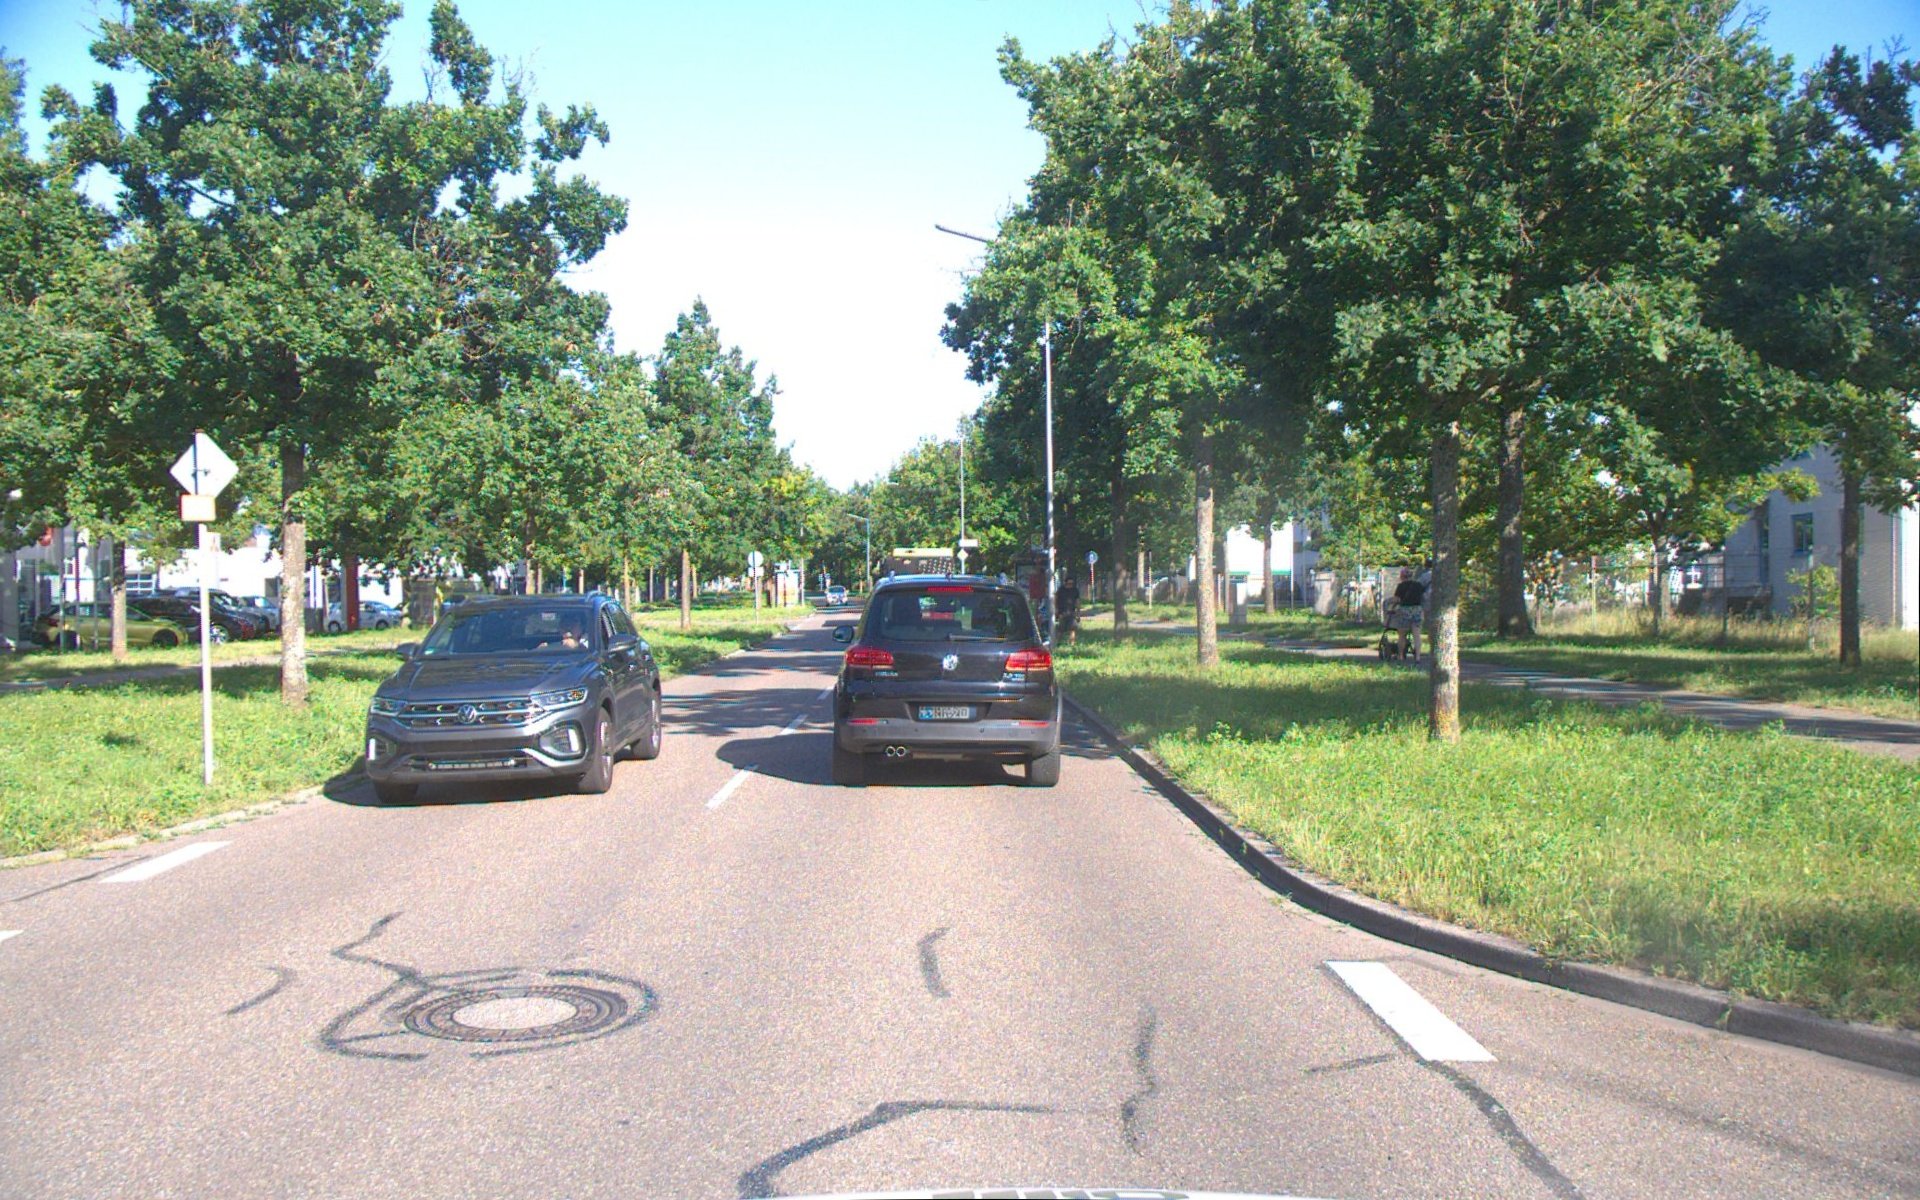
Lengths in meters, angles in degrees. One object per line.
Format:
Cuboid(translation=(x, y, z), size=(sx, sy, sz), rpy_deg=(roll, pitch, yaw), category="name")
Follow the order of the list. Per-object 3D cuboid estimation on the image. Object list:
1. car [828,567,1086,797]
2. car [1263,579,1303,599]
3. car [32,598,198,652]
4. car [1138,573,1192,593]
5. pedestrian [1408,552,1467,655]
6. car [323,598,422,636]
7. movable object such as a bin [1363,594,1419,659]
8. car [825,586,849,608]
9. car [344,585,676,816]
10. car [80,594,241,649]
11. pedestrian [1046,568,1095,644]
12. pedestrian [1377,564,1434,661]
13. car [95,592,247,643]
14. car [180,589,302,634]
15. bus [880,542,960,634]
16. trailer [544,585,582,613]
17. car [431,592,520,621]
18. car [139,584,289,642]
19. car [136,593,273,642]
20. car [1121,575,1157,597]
Cuboid(translation=(-0.077, 0.573, 14.455), size=(1.897, 1.685, 4.426), rpy_deg=(1, 1, -2), category="car")
Cuboid(translation=(23.501, -0.813, 120.419), size=(1.731, 1.408, 3.762), rpy_deg=(-1, 1, -7), category="car")
Cuboid(translation=(-24.499, 0.703, 48.038), size=(3.922, 1.426, 1.968), rpy_deg=(-2, 1, -43), category="car")
Cuboid(translation=(19.242, -1.565, 155.319), size=(4.544, 1.774, 2.186), rpy_deg=(-1, 1, -11), category="car")
Cuboid(translation=(8.495, 0.056, 29.468), size=(0.711, 1.785, 0.867), rpy_deg=(-3, 0, -2), category="pedestrian")
Cuboid(translation=(-26.227, 0.749, 73.839), size=(3.662, 1.646, 1.965), rpy_deg=(-1, 0, 13), category="car")
Cuboid(translation=(7.652, 0.460, 29.401), size=(0.711, 1.100, 0.867), rpy_deg=(-3, 0, -2), category="movable object such as a bin")
Cuboid(translation=(-9.162, -0.246, 122.969), size=(1.710, 1.490, 4.423), rpy_deg=(-2, 1, -5), category="car")
Cuboid(translation=(-3.617, 0.700, 14.147), size=(1.769, 1.563, 4.493), rpy_deg=(-2, 1, -3), category="car")
Cuboid(translation=(-24.732, 0.636, 51.237), size=(4.137, 1.565, 1.866), rpy_deg=(-2, 1, -43), category="car")
Cuboid(translation=(2.500, 0.124, 37.535), size=(0.999, 1.680, 1.099), rpy_deg=(-1, 0, -2), category="pedestrian")
Cuboid(translation=(7.679, 0.211, 28.524), size=(0.711, 1.631, 0.867), rpy_deg=(-1, 0, -2), category="pedestrian")
Cuboid(translation=(-25.851, 0.546, 54.253), size=(4.132, 1.517, 1.971), rpy_deg=(-1, 1, -41), category="car")
Cuboid(translation=(-32.648, 0.500, 75.135), size=(4.903, 1.939, 1.943), rpy_deg=(-1, 0, 14), category="car")
Cuboid(translation=(-1.812, -0.548, 69.753), size=(2.710, 3.517, 11.201), rpy_deg=(-1, 1, -4), category="bus")
Cuboid(translation=(-29.450, -0.099, 122.869), size=(2.060, 1.948, 3.738), rpy_deg=(-1, 1, -3), category="trailer")
Cuboid(translation=(-27.579, 0.372, 94.226), size=(4.407, 1.505, 1.942), rpy_deg=(-1, 0, 3), category="car")
Cuboid(translation=(-28.171, 0.453, 62.573), size=(4.820, 2.049, 1.968), rpy_deg=(-2, 1, -44), category="car")
Cuboid(translation=(-26.352, 0.585, 57.719), size=(4.119, 1.589, 1.977), rpy_deg=(-1, 1, -34), category="car")
Cuboid(translation=(15.283, -1.213, 141.405), size=(2.142, 1.774, 4.635), rpy_deg=(-1, 1, -6), category="car")
